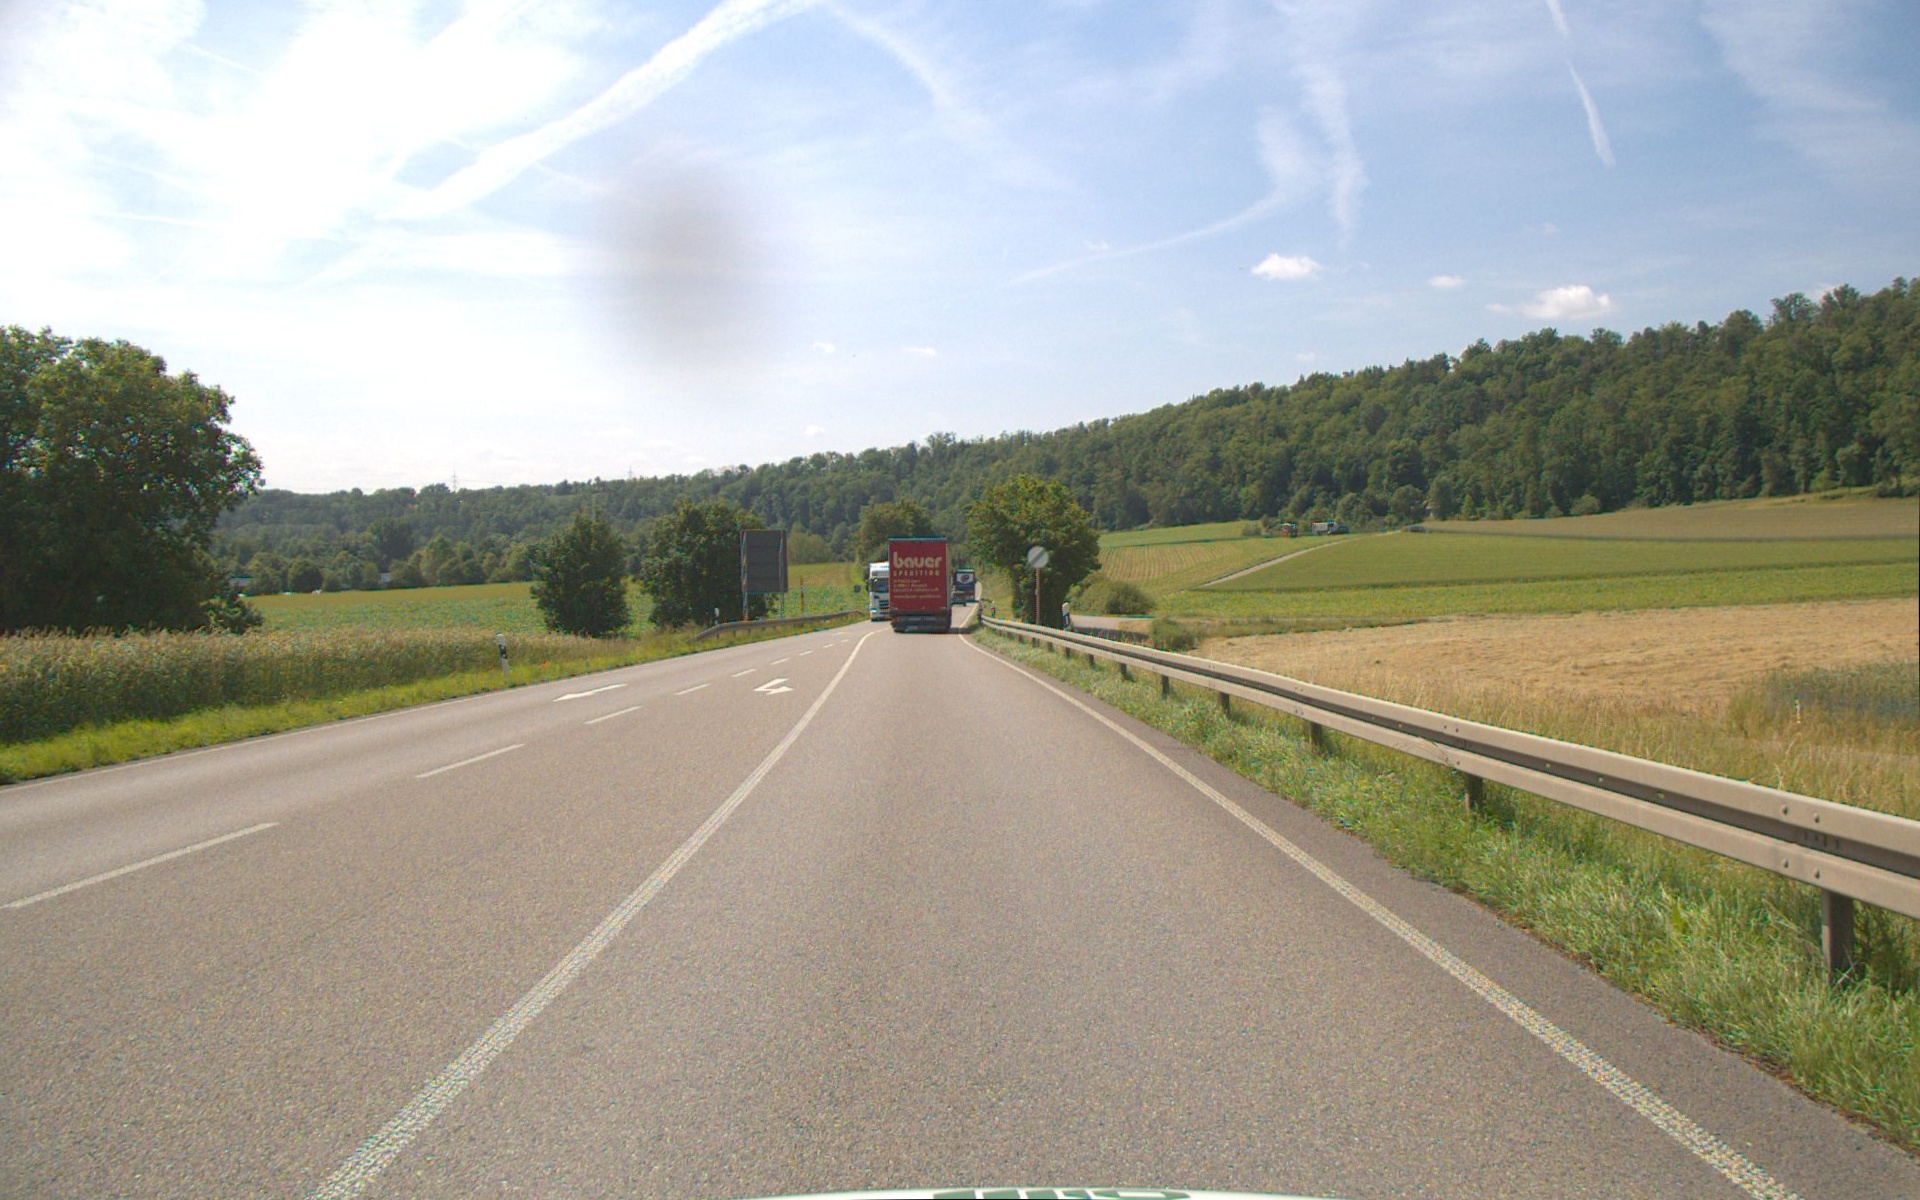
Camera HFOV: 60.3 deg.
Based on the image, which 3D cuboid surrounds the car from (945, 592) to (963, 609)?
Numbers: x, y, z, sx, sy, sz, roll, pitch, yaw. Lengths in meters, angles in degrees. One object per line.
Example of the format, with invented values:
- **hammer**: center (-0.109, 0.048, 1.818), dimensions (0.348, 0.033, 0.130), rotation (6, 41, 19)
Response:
- **car**: center (-0.700, 0.069, 186.288), dimensions (1.953, 1.842, 3.999), rotation (2, 0, -1)

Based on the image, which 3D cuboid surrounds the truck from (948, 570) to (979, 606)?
- **truck**: center (0.418, -1.539, 217.074), dimensions (3.825, 4.446, 13.291), rotation (2, 0, 0)

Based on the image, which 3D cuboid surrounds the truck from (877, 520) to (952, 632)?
- **truck**: center (-2.037, -1.056, 76.780), dimensions (3.108, 4.706, 13.540), rotation (-1, 0, -1)

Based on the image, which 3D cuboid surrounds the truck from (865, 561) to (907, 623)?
- **truck**: center (-5.213, -0.562, 116.657), dimensions (2.478, 4.191, 6.021), rotation (-2, 0, 1)
